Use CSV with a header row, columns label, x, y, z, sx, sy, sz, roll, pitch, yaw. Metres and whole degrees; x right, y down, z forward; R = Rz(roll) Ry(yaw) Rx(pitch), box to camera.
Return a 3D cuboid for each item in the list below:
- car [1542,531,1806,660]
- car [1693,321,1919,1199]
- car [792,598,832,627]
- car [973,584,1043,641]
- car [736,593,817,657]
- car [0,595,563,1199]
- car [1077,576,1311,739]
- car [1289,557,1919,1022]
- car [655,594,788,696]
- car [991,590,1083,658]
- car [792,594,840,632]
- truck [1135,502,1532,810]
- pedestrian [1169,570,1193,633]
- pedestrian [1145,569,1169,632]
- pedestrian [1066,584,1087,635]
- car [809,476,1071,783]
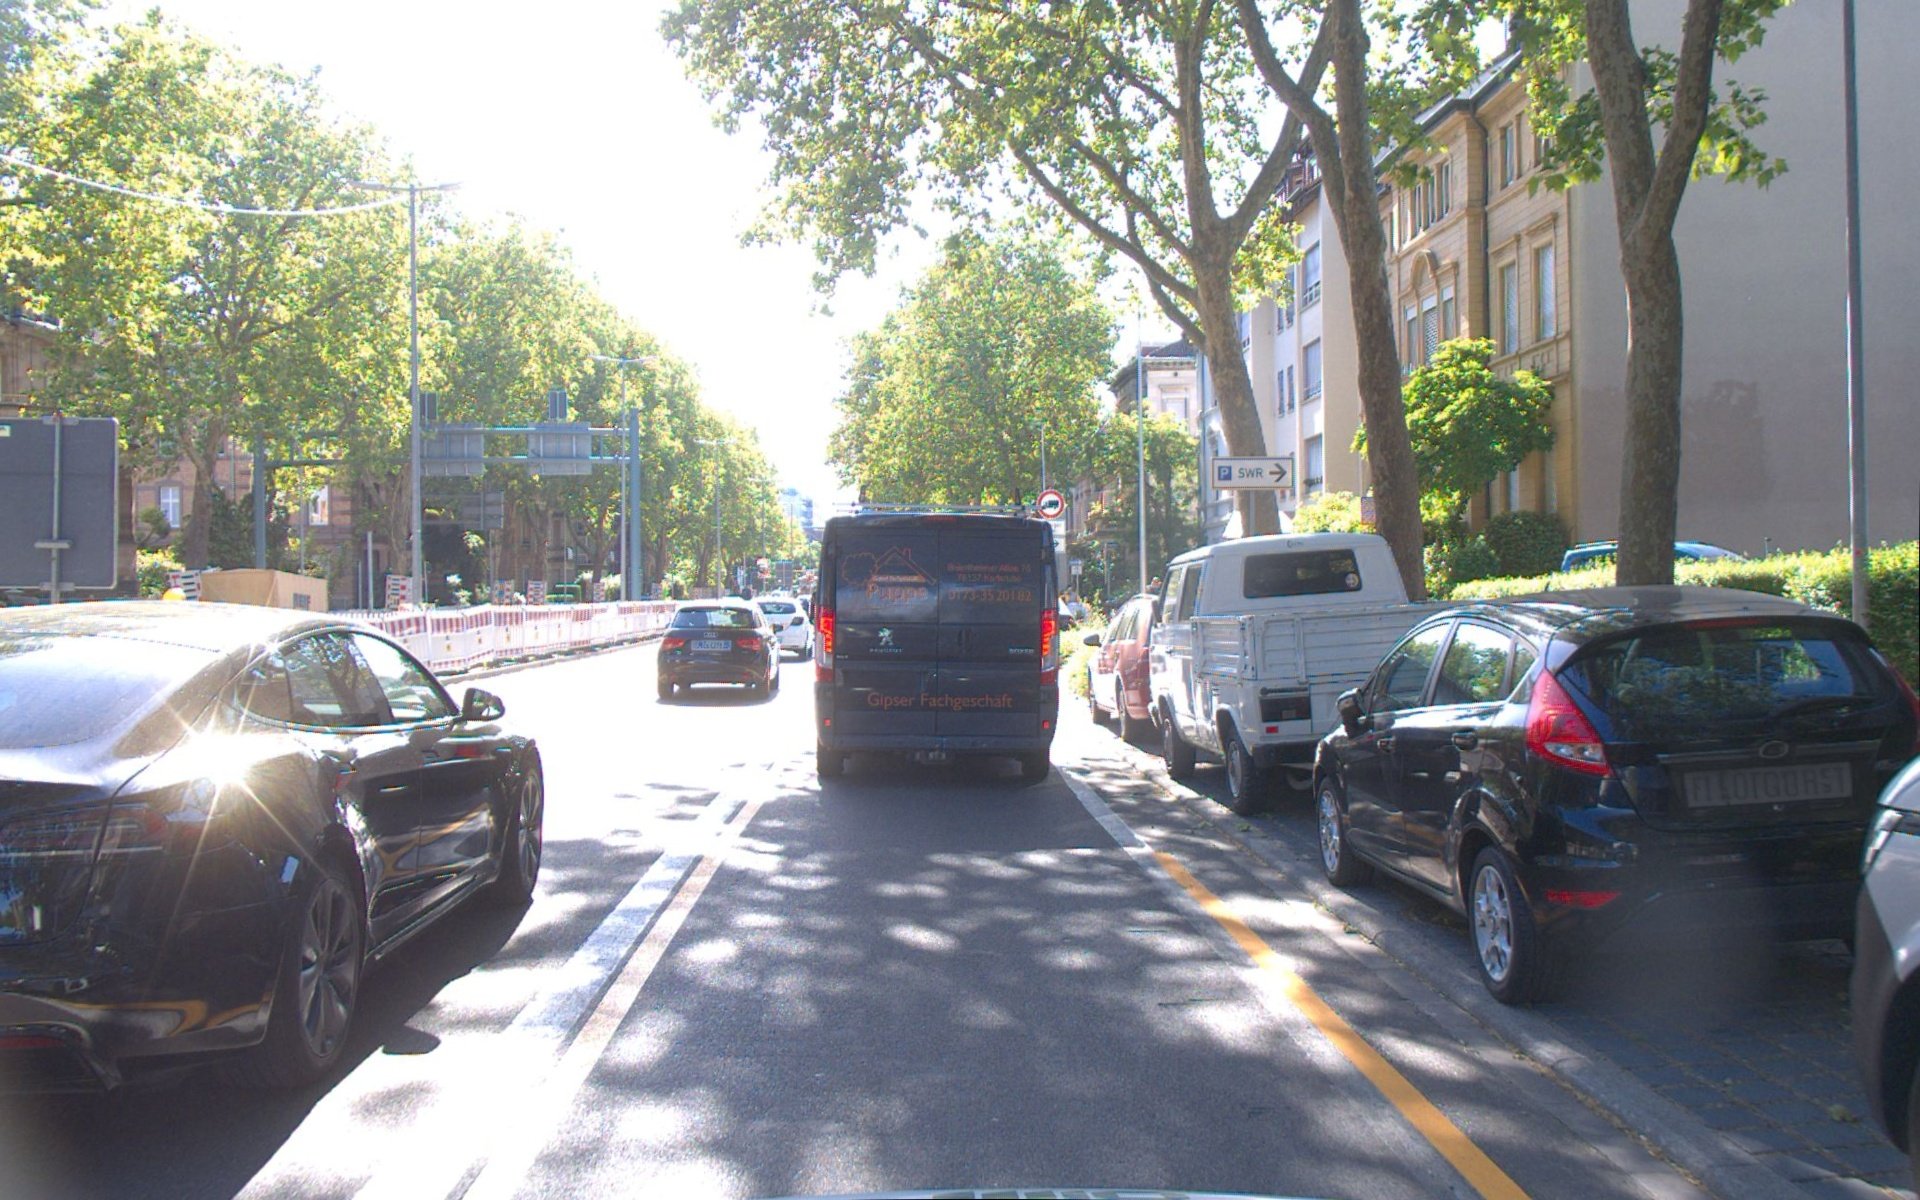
label,x,y,z,sx,sy,sz,roll,pitch,yaw
car,11.176,-0.071,26.063,1.690,1.886,3.465,1,0,-35
car,3.054,0.410,1.775,1.985,1.980,5.270,0,0,-3
car,-8.179,0.660,91.721,1.953,1.495,3.999,1,1,-1
car,1.486,0.375,52.214,1.808,1.672,3.797,-2,0,-4
car,-4.338,0.579,39.557,1.516,1.450,3.555,-1,0,0
car,-2.898,0.711,6.219,1.886,1.436,4.623,1,0,-3
car,2.443,0.566,18.415,1.785,1.534,4.675,-2,0,-2
car,2.790,0.617,7.513,1.712,1.503,4.100,-1,0,-1
car,-3.611,0.631,25.597,1.712,1.432,3.997,1,0,-4
car,1.772,0.535,39.262,1.807,1.467,4.485,-1,0,-2
car,-4.895,0.427,56.613,1.392,1.246,3.437,-1,0,-1
truck,2.623,0.354,12.775,1.839,1.914,4.451,-1,0,-3
pedestrian,6.397,0.038,47.986,0.640,1.786,1.014,-1,0,7
pedestrian,5.772,0.014,48.397,0.661,1.786,0.875,-1,0,7
pedestrian,4.753,0.384,67.638,0.781,2.049,1.168,-1,0,2
car,-0.259,0.208,14.938,2.053,2.396,3.931,0,1,-3
